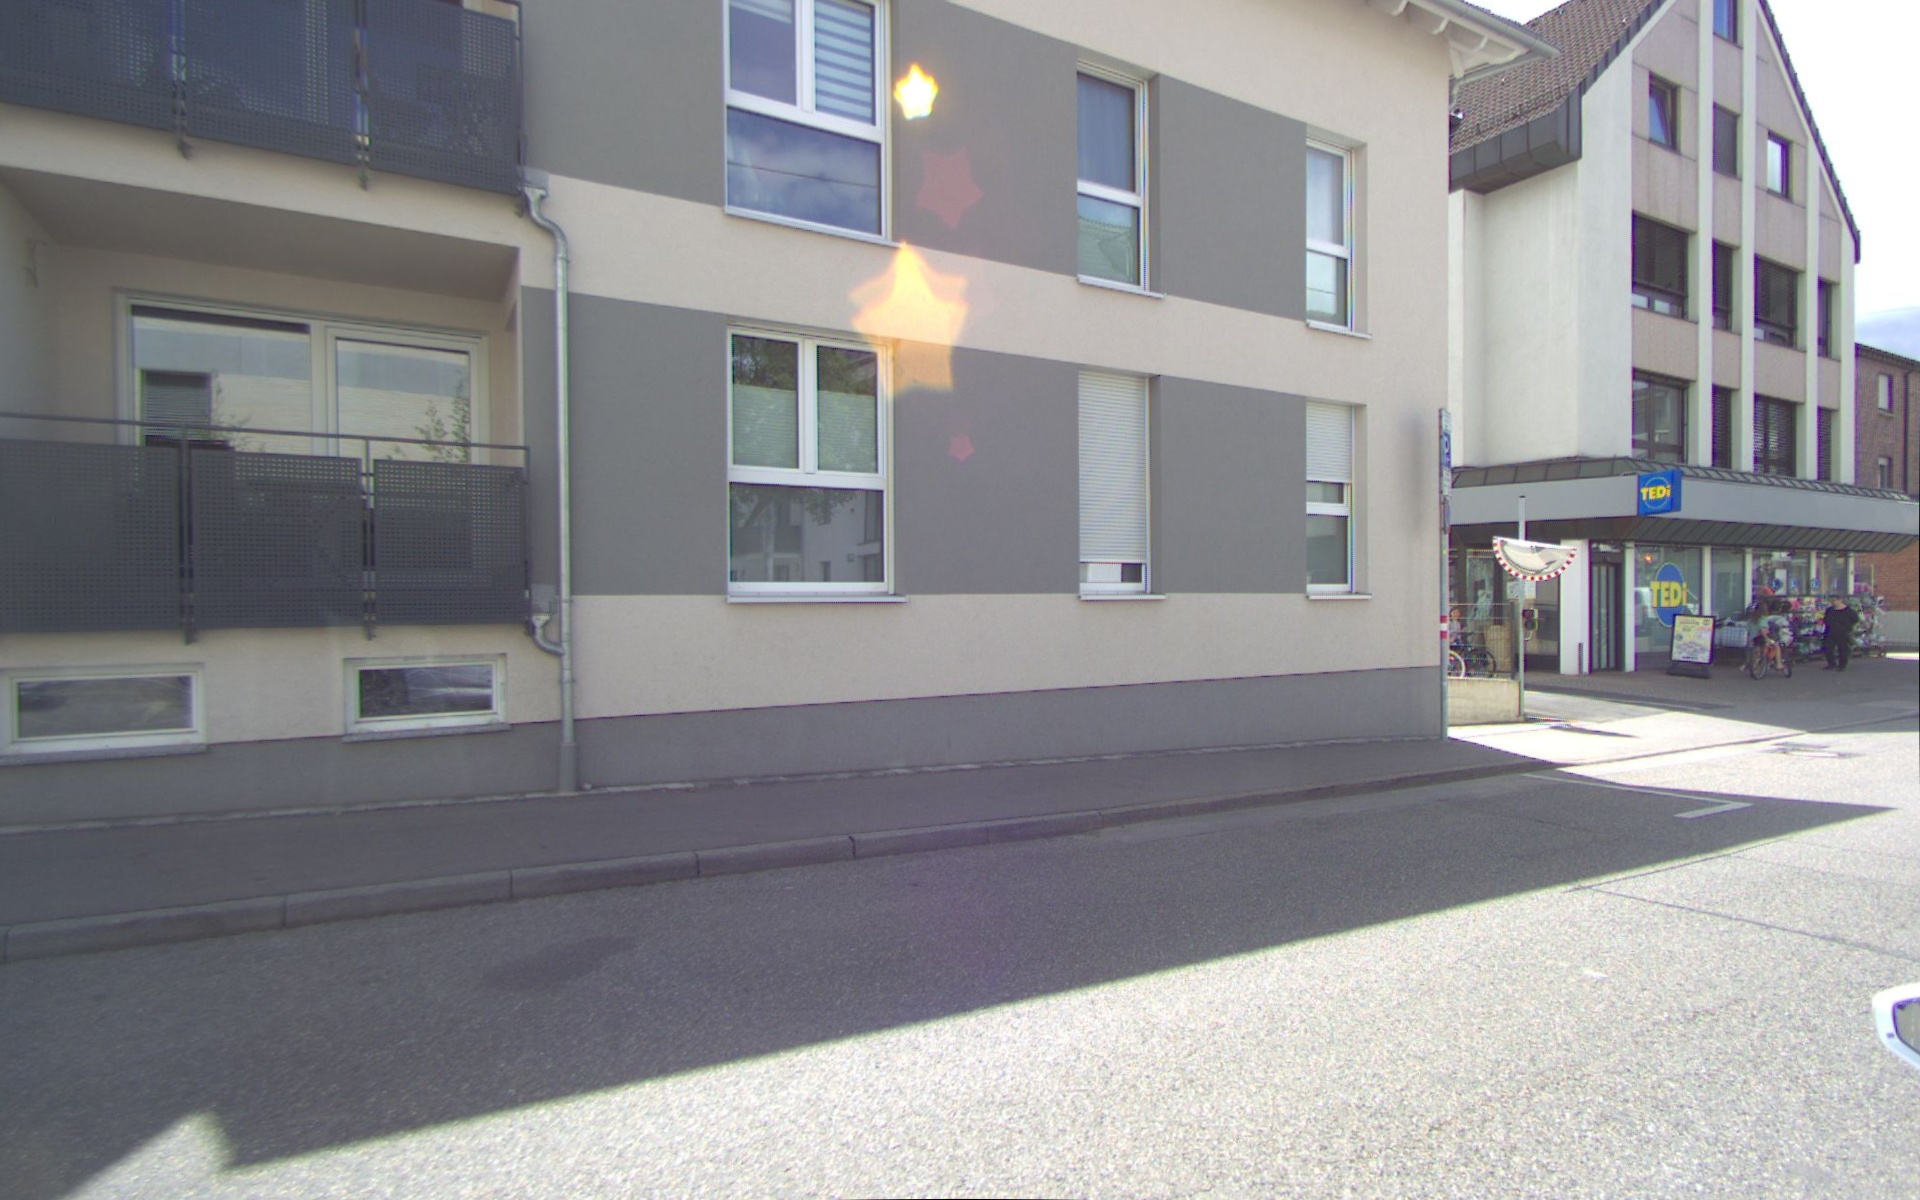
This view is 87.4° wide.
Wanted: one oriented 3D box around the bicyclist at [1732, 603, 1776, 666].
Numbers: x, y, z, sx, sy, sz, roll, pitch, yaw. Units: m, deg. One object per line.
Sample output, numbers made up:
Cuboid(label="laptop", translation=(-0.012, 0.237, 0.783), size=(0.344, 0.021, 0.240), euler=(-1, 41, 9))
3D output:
Cuboid(label="bicyclist", translation=(15.266, 0.653, 19.313), size=(0.617, 1.194, 0.455), euler=(1, -1, -30))

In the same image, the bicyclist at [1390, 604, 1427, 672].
Cuboid(label="bicyclist", translation=(8.041, 0.679, 18.016), size=(0.489, 1.197, 0.397), euler=(1, 0, 11))

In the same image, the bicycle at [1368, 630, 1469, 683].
Cuboid(label="bicycle", translation=(8.199, 1.000, 17.982), size=(1.619, 0.908, 0.303), euler=(0, 0, 10))

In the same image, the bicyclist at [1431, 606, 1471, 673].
Cuboid(label="bicyclist", translation=(9.000, 0.709, 18.410), size=(0.392, 1.197, 0.495), euler=(1, 1, -30))

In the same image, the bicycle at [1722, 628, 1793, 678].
Cuboid(label="bicycle", translation=(15.395, 1.009, 19.378), size=(1.756, 0.873, 0.464), euler=(-1, 2, -31))

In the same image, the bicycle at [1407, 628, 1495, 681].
Cuboid(label="bicycle", translation=(8.972, 0.976, 18.415), size=(0.299, 0.908, 1.543), euler=(1, -1, -31))

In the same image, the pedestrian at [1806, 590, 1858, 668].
Cuboid(label="pedestrian", translation=(18.409, 0.603, 21.203), size=(0.555, 1.624, 0.626), euler=(1, 0, -24))
